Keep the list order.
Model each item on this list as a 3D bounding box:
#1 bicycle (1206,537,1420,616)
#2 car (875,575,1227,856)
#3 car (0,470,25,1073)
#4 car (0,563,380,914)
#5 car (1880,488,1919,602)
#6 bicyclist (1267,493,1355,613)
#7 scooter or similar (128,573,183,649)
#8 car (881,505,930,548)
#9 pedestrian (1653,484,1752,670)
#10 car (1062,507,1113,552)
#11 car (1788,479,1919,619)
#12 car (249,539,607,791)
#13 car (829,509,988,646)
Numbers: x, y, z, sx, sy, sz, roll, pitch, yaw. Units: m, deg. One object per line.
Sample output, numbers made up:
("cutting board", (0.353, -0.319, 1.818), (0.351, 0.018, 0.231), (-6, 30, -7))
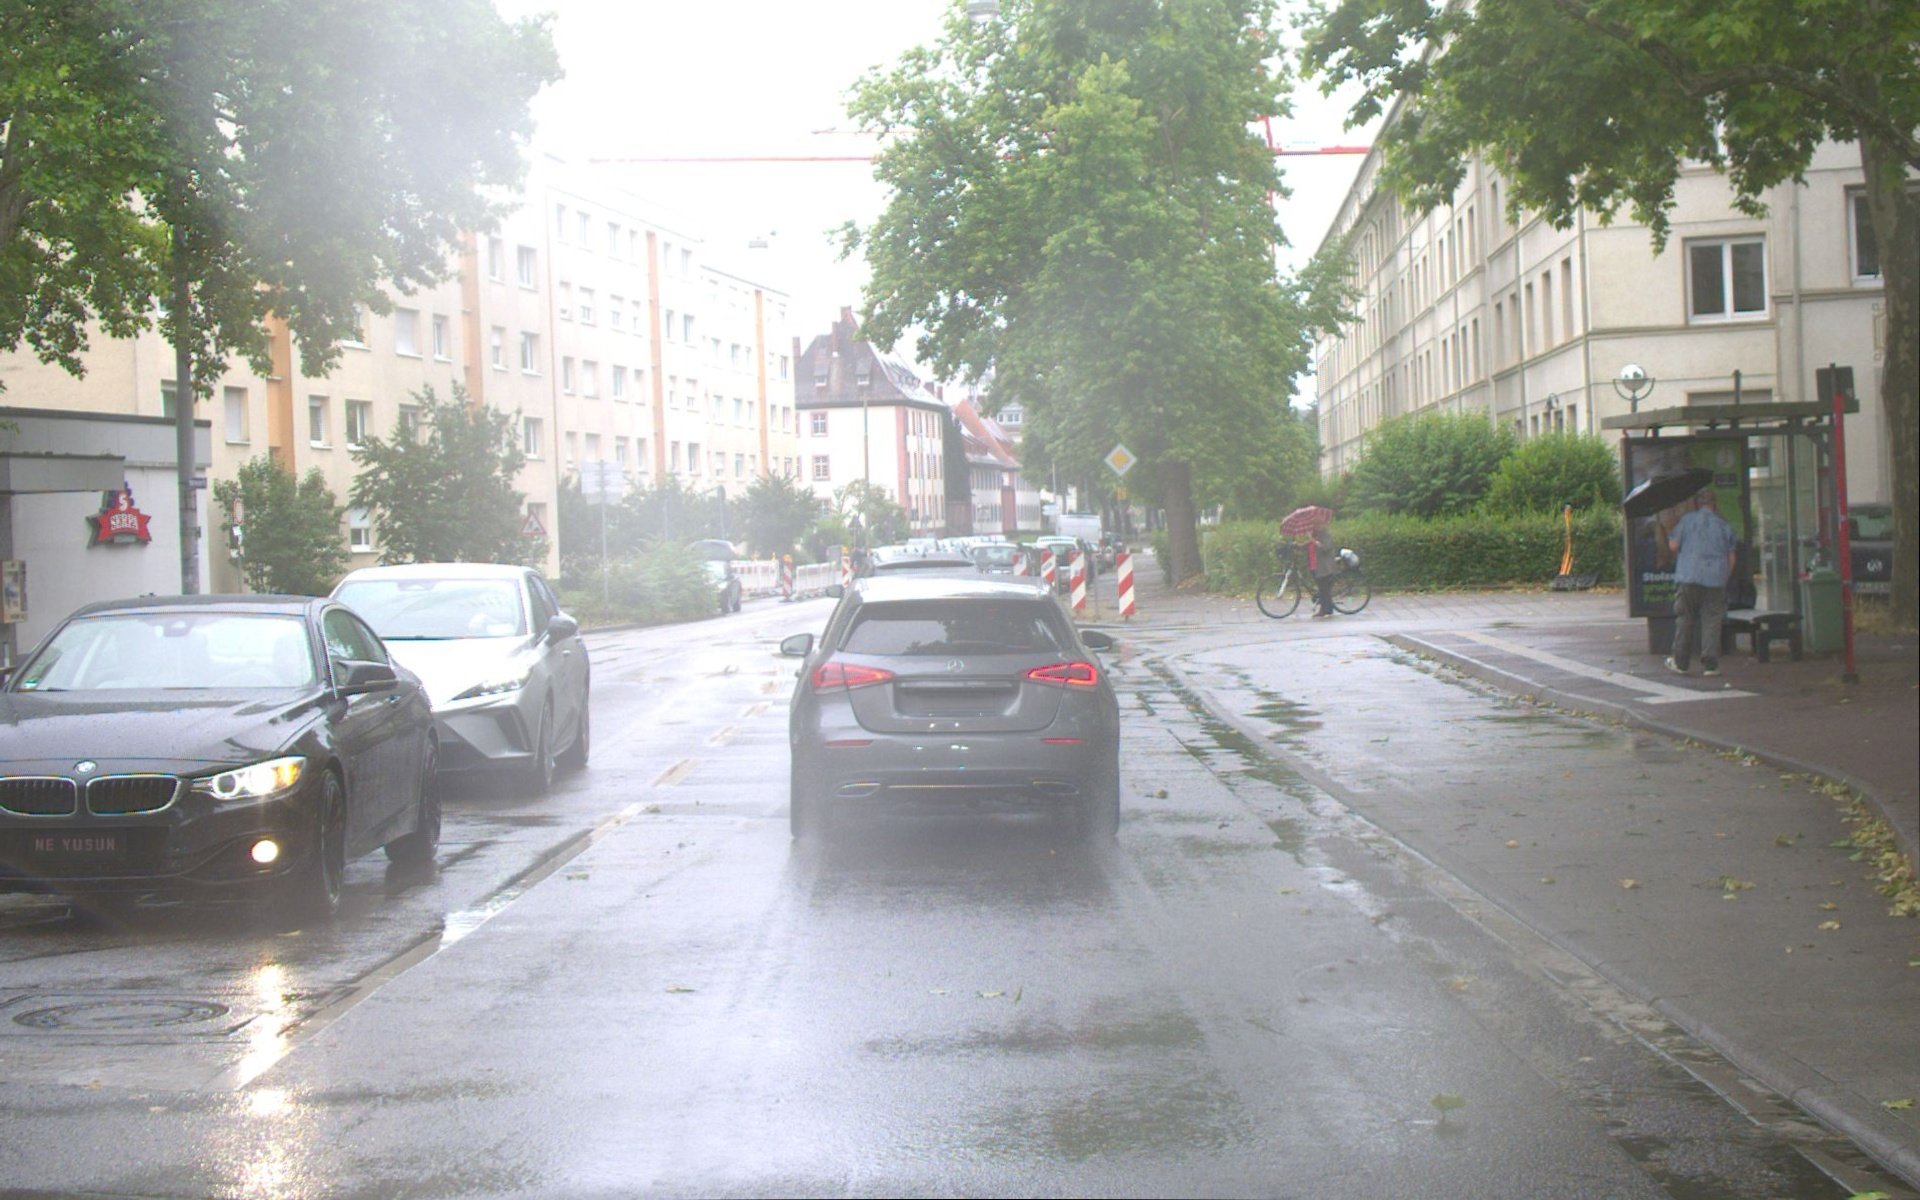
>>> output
("bicycle", (5.650, -0.372, 54.970), (3.205, 1.108, 1.054), (-3, 1, -18))
("car", (0.466, 0.582, 19.451), (1.791, 1.368, 3.507), (-1, 1, 0))
("car", (-3.718, 0.509, 8.117), (1.806, 1.855, 4.109), (-2, 1, 0))
("car", (-3.942, 0.544, 15.883), (1.742, 1.385, 4.362), (-1, 0, 0))
("car", (15.040, -0.844, 51.137), (1.996, 1.622, 4.625), (1, 2, 23))
("bicyclist", (5.604, -0.746, 54.901), (0.938, 1.862, 1.143), (-3, 1, -18))
("scooter or similar", (-13.993, 0.187, 59.813), (0.438, 1.261, 1.375), (-2, 1, 7))
("car", (-2.476, -3.352, 157.167), (1.890, 1.830, 4.000), (-2, 1, 4))
("pedestrian", (6.807, -0.213, 31.551), (0.716, 1.663, 0.665), (-2, 1, 1))
("car", (5.559, -3.051, 149.441), (2.047, 1.830, 4.791), (-2, 1, 4))
("car", (10.862, -0.574, 41.125), (1.689, 1.546, 3.520), (-2, -1, 16))
("car", (-3.548, 0.370, 23.597), (1.845, 1.505, 4.056), (-2, 1, -1))
("car", (-0.550, -0.287, 38.342), (1.607, 1.367, 4.000), (-3, 1, 0))
